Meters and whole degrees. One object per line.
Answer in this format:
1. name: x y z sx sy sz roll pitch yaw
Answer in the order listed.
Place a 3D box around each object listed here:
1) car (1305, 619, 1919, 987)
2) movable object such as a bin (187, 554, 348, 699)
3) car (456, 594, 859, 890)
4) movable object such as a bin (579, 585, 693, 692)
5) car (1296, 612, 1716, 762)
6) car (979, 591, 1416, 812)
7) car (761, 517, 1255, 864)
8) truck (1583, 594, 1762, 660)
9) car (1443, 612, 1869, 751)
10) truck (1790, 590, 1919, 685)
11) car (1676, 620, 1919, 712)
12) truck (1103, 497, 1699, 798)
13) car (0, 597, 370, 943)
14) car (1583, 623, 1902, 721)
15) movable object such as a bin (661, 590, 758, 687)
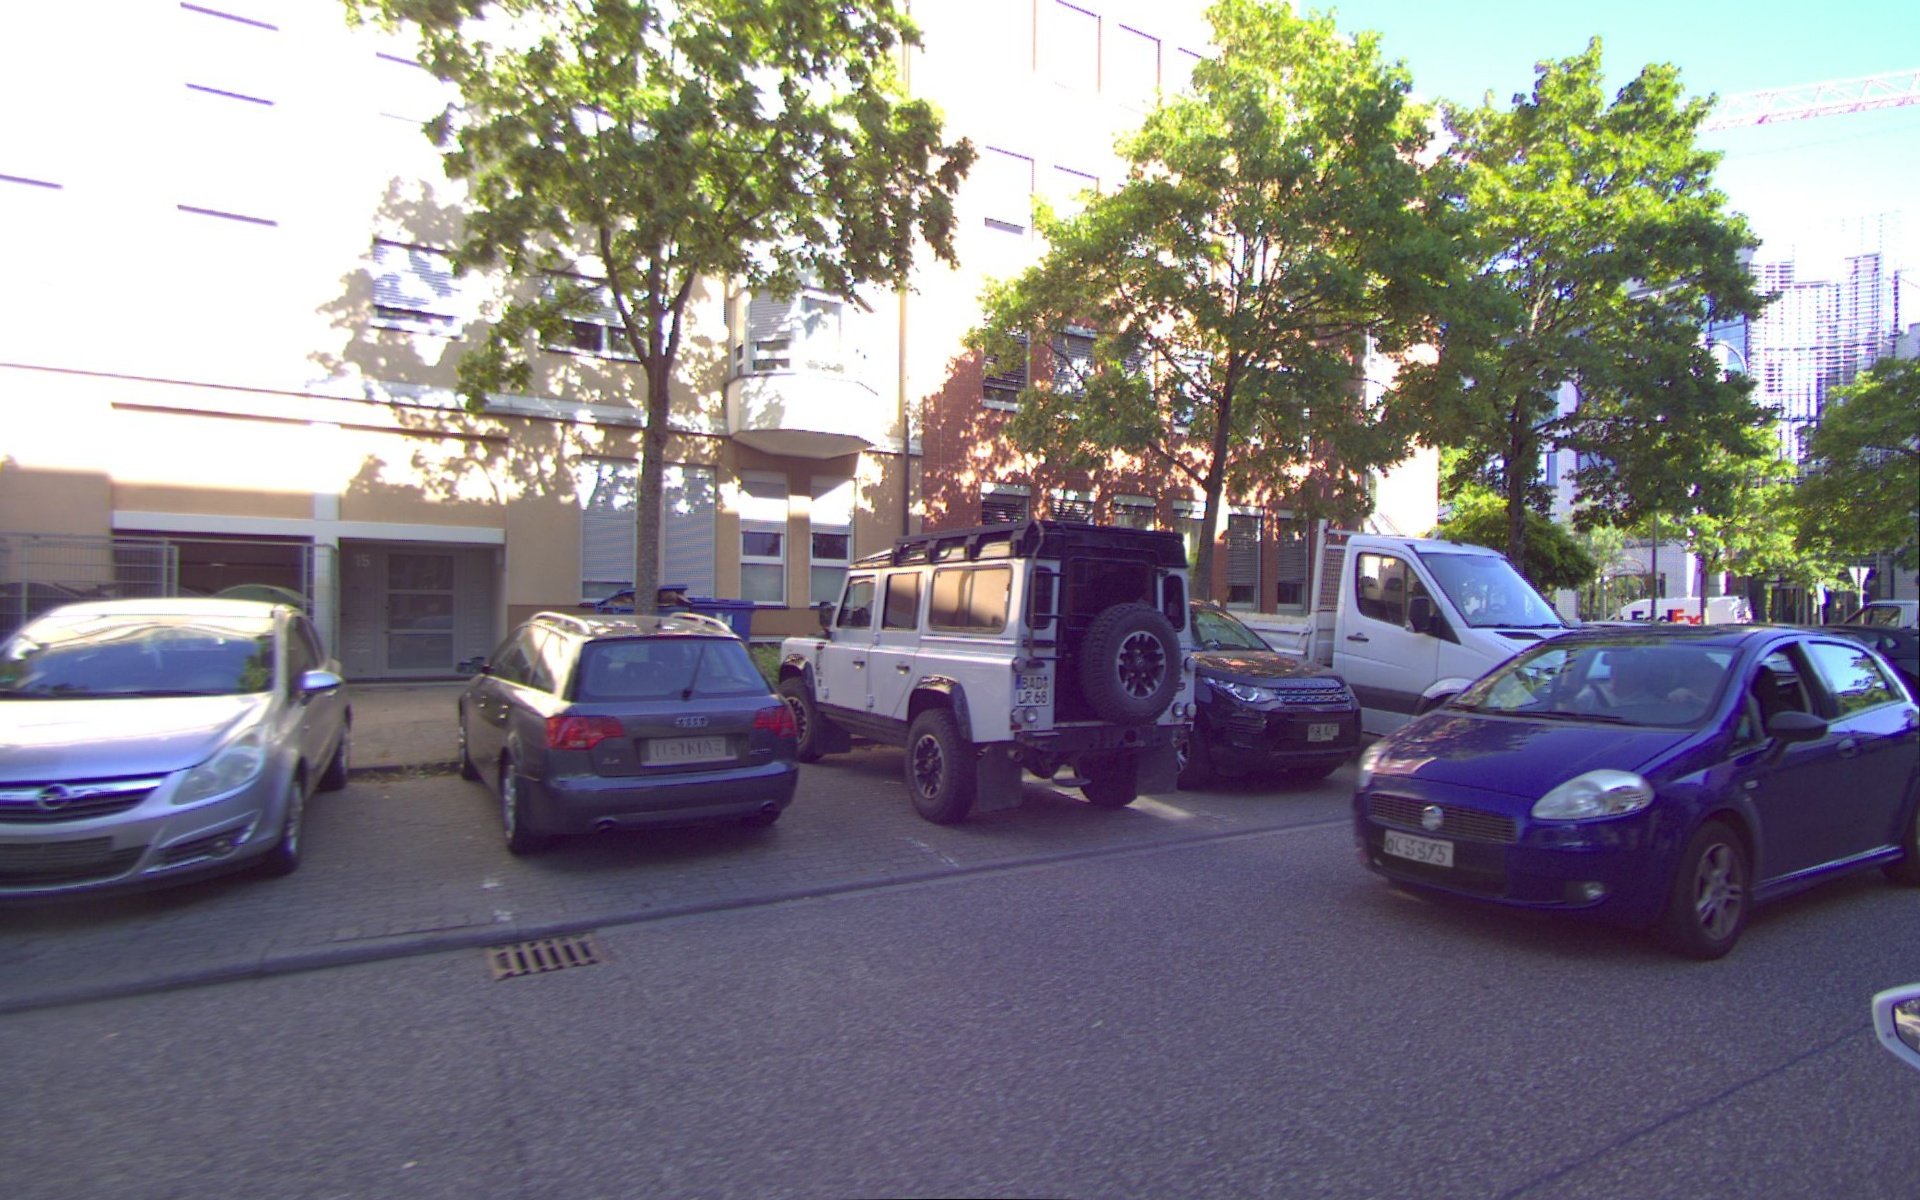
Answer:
1. car: 3.944 0.835 5.670 3.953 1.439 1.636 1 -1 -31
2. movable object such as a bin: -9.368 0.354 13.726 1.644 1.820 1.592 1 -1 -29
3. car: -2.420 0.745 7.322 1.814 1.512 3.755 1 1 -33
4. movable object such as a bin: -5.274 0.606 16.359 1.431 1.641 1.134 1 -1 -42
5. car: 6.787 0.953 13.006 1.977 1.507 4.404 1 0 -31
6. car: 2.117 0.794 10.089 1.977 1.684 4.086 1 0 -31
7. car: 0.065 0.528 8.447 1.978 2.079 4.458 1 0 -31
8. truck: 31.726 1.180 44.974 2.552 2.740 6.064 1 -1 -35
9. car: 9.385 0.971 13.983 1.868 1.461 4.517 0 1 -31
10. truck: 20.988 0.786 21.192 2.111 1.985 4.966 1 -1 -28
11. car: 15.618 1.107 18.190 1.765 1.454 3.974 1 -1 -26
12. truck: 4.377 0.444 11.438 2.161 2.454 6.205 1 -1 -29
13. car: -4.833 0.753 6.248 1.710 1.480 3.821 1 0 -26
14. car: 13.133 1.116 17.127 1.701 1.454 3.969 0 -1 -30
15. movable object such as a bin: -4.304 0.641 17.235 1.235 1.583 1.134 1 -1 -42
